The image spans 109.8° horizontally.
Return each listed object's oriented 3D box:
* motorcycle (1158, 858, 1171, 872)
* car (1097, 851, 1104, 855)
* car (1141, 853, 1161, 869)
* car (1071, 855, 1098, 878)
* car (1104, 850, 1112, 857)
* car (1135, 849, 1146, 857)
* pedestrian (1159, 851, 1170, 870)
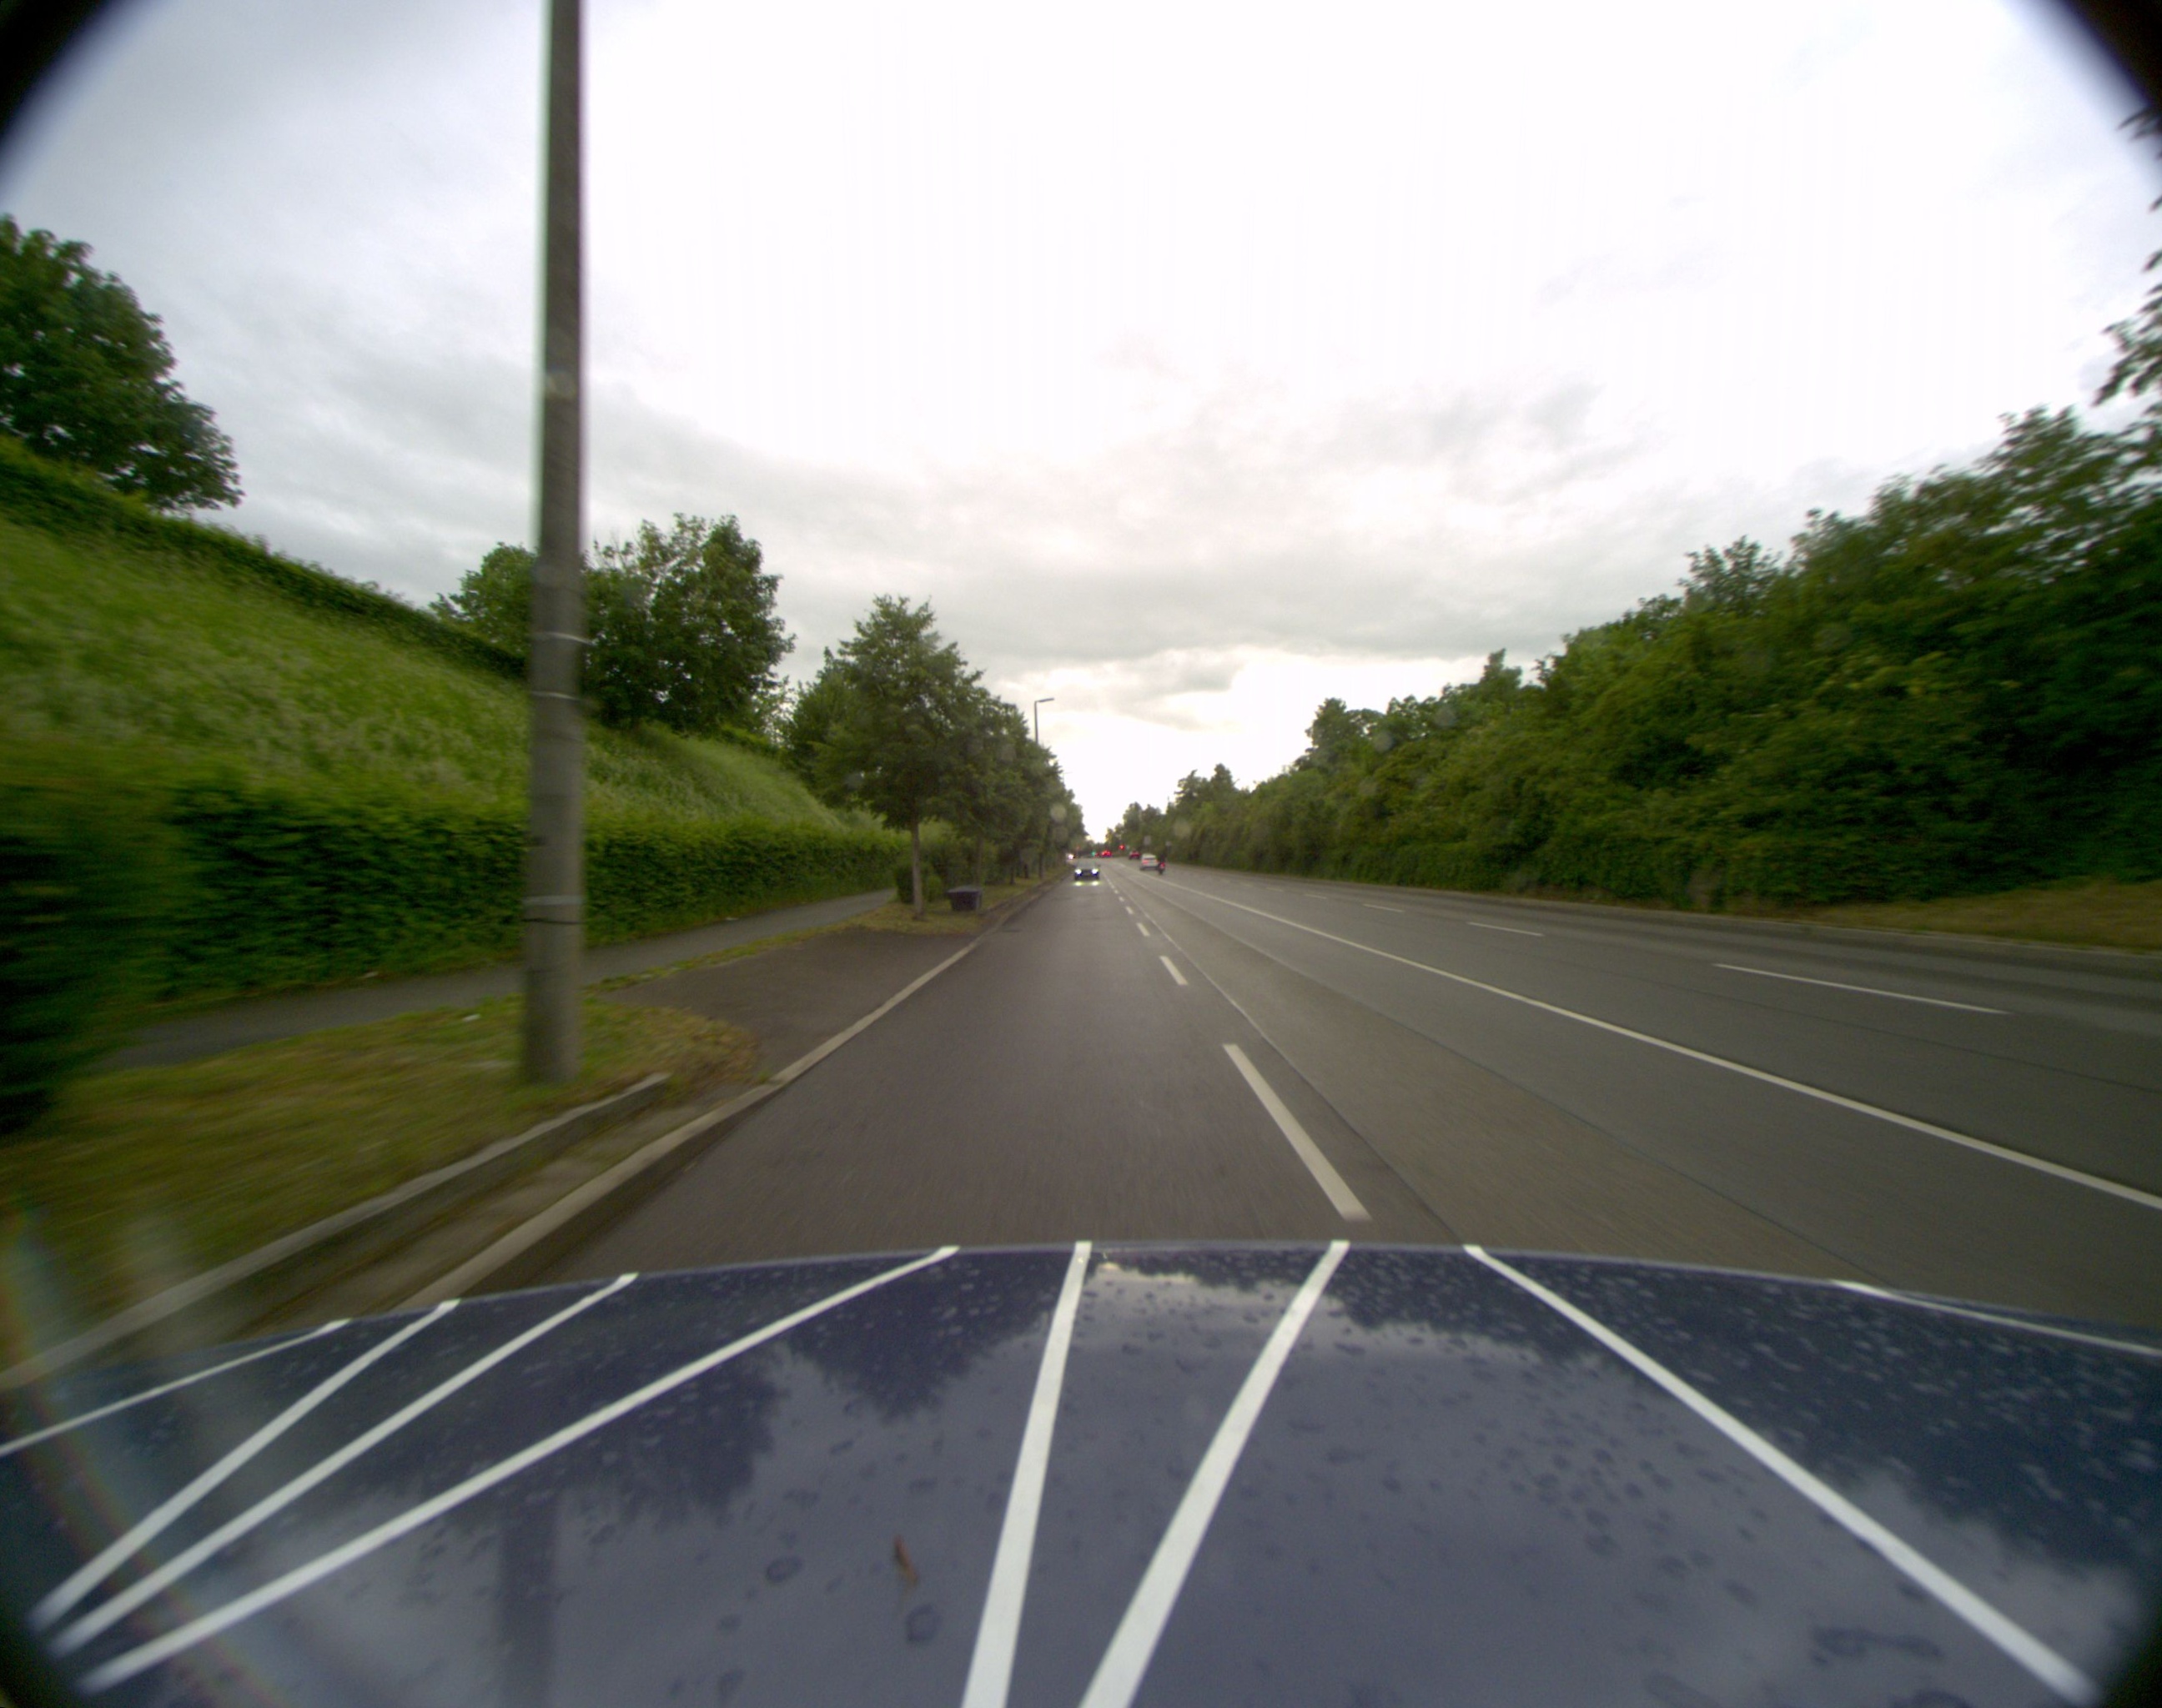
[{"bbox_3d":[6.863,0.888,62.499,0.807,1.124,2.231,-2,0,1],"label":"motorcycle"},{"bbox_3d":[6.337,-0.287,247.966,1.554,1.429,3.692,-2,1,-10],"label":"car"},{"bbox_3d":[7.232,0.738,78.978,1.719,1.496,4.516,-3,0,1],"label":"car"},{"bbox_3d":[0.213,0.900,55.739,1.738,1.577,4.284,-2,0,-2],"label":"car"},{"bbox_3d":[6.923,-0.064,194.286,1.817,1.648,4.594,-2,1,0],"label":"car"},{"bbox_3d":[11.680,-0.179,149.269,1.903,1.544,4.630,-3,1,1],"label":"car"},{"bbox_3d":[6.850,0.531,62.475,0.807,1.532,1.111,-2,1,1],"label":"pedestrian"}]
